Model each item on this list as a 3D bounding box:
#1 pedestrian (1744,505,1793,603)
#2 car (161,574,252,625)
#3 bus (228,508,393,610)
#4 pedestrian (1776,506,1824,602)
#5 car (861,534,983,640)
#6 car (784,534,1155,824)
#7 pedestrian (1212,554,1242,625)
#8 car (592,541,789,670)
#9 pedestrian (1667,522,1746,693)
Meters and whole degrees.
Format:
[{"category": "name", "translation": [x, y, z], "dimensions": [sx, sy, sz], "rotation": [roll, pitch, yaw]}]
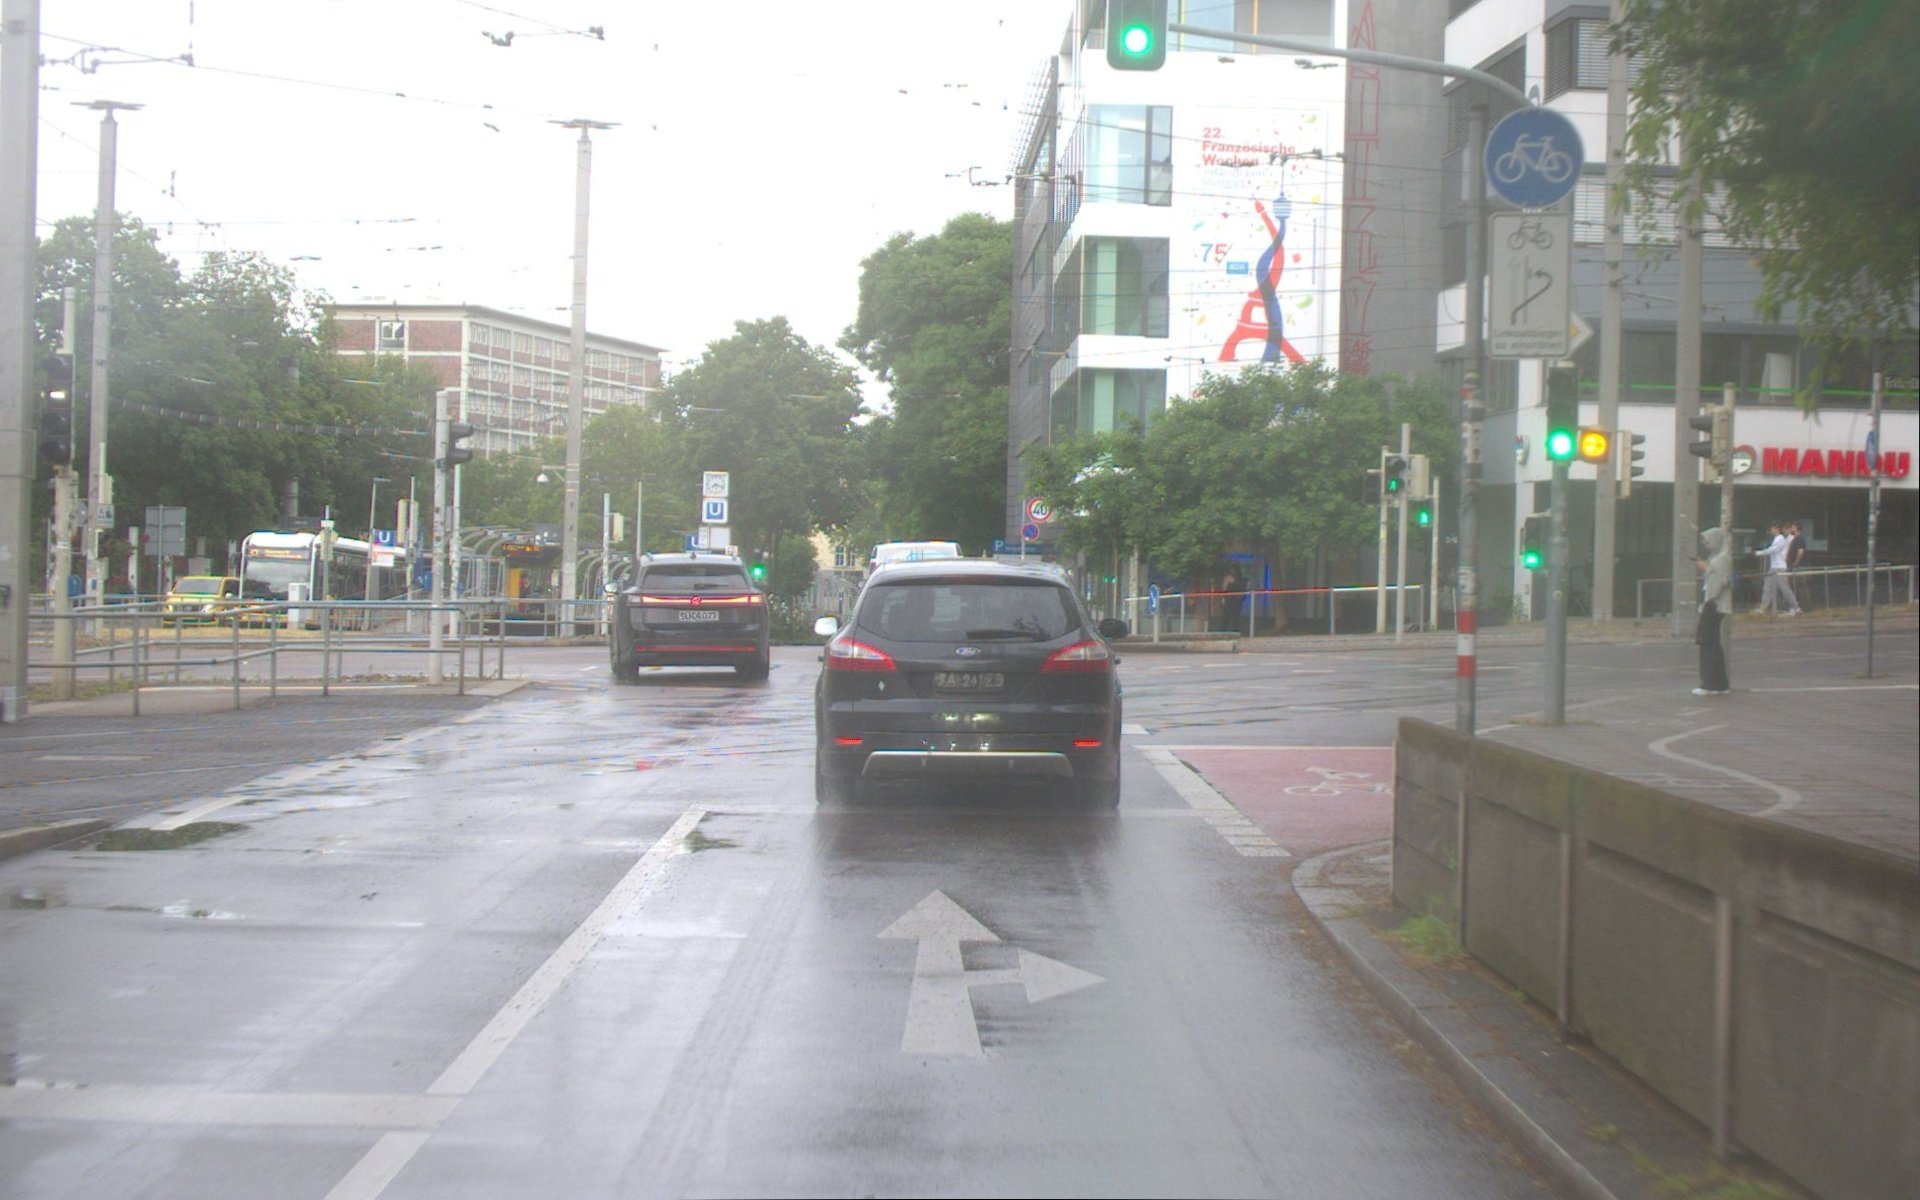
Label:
[{"category": "pedestrian", "translation": [15.869, -0.896, 67.493], "dimensions": [0.718, 1.907, 0.696], "rotation": [0, 0, 38]}, {"category": "car", "translation": [-24.946, -0.024, 113.965], "dimensions": [1.993, 1.640, 4.536], "rotation": [0, 0, 0]}, {"category": "bus", "translation": [-22.183, -1.362, 118.167], "dimensions": [3.077, 3.289, 12.522], "rotation": [0, 0, 1]}, {"category": "pedestrian", "translation": [16.657, -0.907, 68.174], "dimensions": [0.718, 1.907, 0.696], "rotation": [0, 0, 38]}, {"category": "car", "translation": [-0.652, -0.252, 62.773], "dimensions": [2.036, 1.833, 4.392], "rotation": [1, 1, 1]}, {"category": "car", "translation": [0.036, 0.416, 21.420], "dimensions": [2.036, 1.579, 4.392], "rotation": [1, 1, 0]}, {"category": "pedestrian", "translation": [5.873, -0.233, 75.697], "dimensions": [0.542, 1.558, 0.521], "rotation": [0, 0, 20]}, {"category": "car", "translation": [-3.388, 0.052, 42.418], "dimensions": [2.098, 1.500, 4.733], "rotation": [0, 0, -9]}, {"category": "pedestrian", "translation": [7.548, 0.073, 34.763], "dimensions": [0.528, 1.706, 0.704], "rotation": [0, 0, 38]}]
